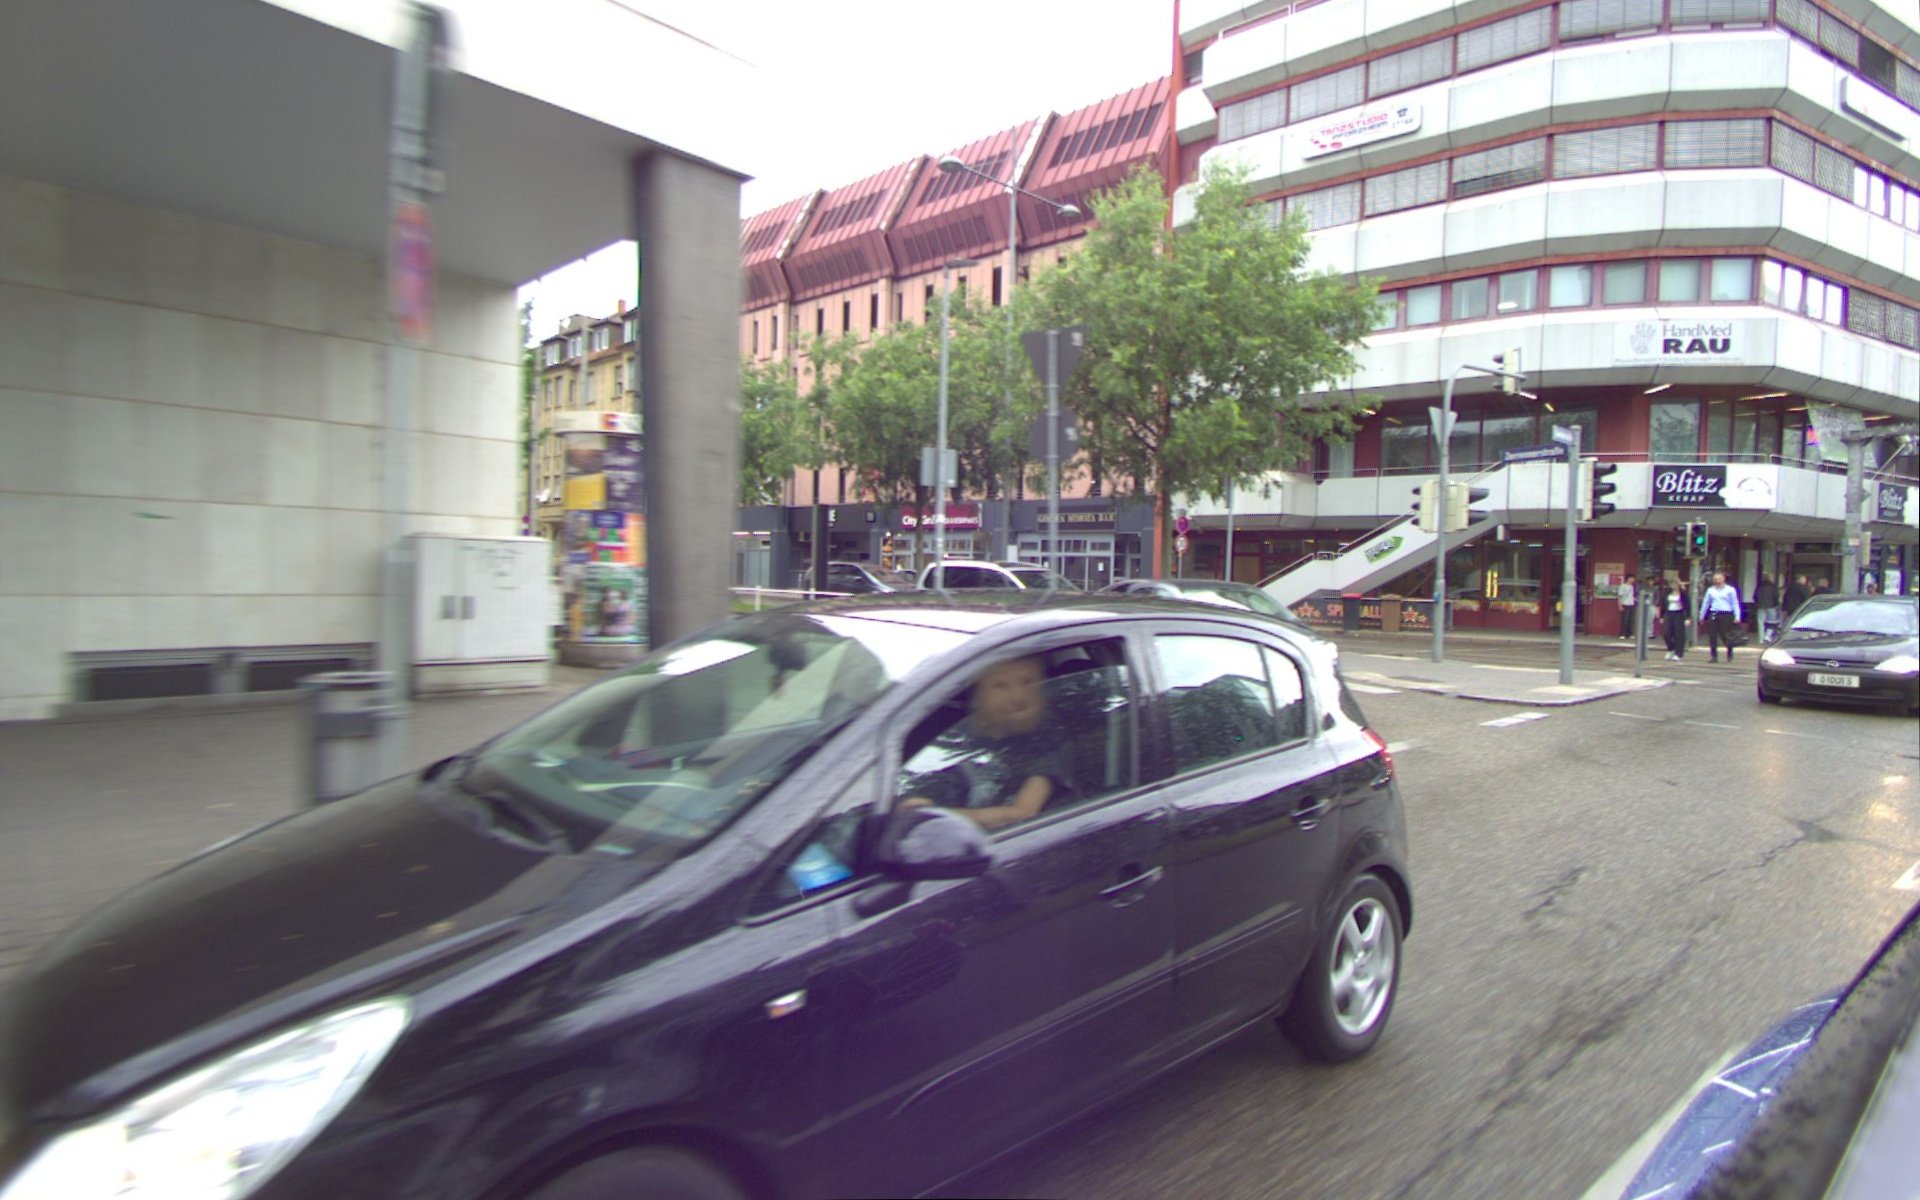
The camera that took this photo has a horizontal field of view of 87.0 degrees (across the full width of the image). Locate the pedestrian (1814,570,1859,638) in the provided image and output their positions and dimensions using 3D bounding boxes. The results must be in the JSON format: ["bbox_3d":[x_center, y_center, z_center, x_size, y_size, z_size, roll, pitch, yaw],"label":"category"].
[{"bbox_3d":[23.633,0.092,27.281,0.871,1.801,0.750,-2,2,-36],"label":"pedestrian"}]

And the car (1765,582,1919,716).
[{"bbox_3d":[11.797,0.524,13.016,3.564,1.458,1.595,-1,2,-41],"label":"car"}]

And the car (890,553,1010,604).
[{"bbox_3d":[-0.385,-0.709,34.302,1.779,1.571,3.989,-3,2,-44],"label":"car"}]

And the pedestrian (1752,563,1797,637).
[{"bbox_3d":[21.926,-0.017,27.232,0.663,1.918,0.735,-2,3,-33],"label":"pedestrian"}]

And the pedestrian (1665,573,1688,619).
[{"bbox_3d":[23.784,-0.138,33.607,0.453,1.504,0.506,1,4,19],"label":"pedestrian"}]

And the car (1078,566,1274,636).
[{"bbox_3d":[5.014,-0.033,23.908,1.759,1.437,4.262,0,3,-45],"label":"car"}]

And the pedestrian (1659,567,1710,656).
[{"bbox_3d":[15.143,0.220,21.160,0.663,1.795,0.625,-2,2,-26],"label":"pedestrian"}]

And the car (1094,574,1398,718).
[{"bbox_3d":[3.342,0.424,12.749,1.958,1.495,4.009,0,2,-14],"label":"car"}]

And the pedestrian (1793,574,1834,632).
[{"bbox_3d":[25.401,0.090,30.135,0.921,1.683,0.577,0,3,-31],"label":"pedestrian"}]

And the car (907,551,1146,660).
[{"bbox_3d":[1.122,-0.018,19.199,1.824,1.781,4.603,-2,4,-41],"label":"car"}]

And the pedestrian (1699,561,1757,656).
[{"bbox_3d":[15.634,0.153,20.617,0.830,1.869,0.625,-2,2,-26],"label":"pedestrian"}]

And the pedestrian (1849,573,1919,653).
[{"bbox_3d":[22.626,0.296,24.790,0.789,1.799,0.901,-2,8,-29],"label":"pedestrian"}]

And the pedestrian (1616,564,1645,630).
[{"bbox_3d":[18.311,-0.091,27.645,0.520,1.784,0.509,0,2,15],"label":"pedestrian"}]

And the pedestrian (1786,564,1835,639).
[{"bbox_3d":[22.363,0.013,26.611,0.774,1.924,0.761,-2,3,-33],"label":"pedestrian"}]

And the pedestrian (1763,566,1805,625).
[{"bbox_3d":[25.020,-0.136,30.732,0.951,1.727,0.591,0,3,-31],"label":"pedestrian"}]

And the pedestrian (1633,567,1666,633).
[{"bbox_3d":[18.868,-0.006,27.693,0.483,1.784,0.597,-2,2,-32],"label":"pedestrian"}]

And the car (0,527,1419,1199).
[{"bbox_3d":[-0.413,0.643,2.749,3.678,1.475,1.710,0,1,-42],"label":"car"}]

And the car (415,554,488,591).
[{"bbox_3d":[-22.352,-1.216,44.440,1.773,1.487,3.991,-1,3,-44],"label":"car"}]
